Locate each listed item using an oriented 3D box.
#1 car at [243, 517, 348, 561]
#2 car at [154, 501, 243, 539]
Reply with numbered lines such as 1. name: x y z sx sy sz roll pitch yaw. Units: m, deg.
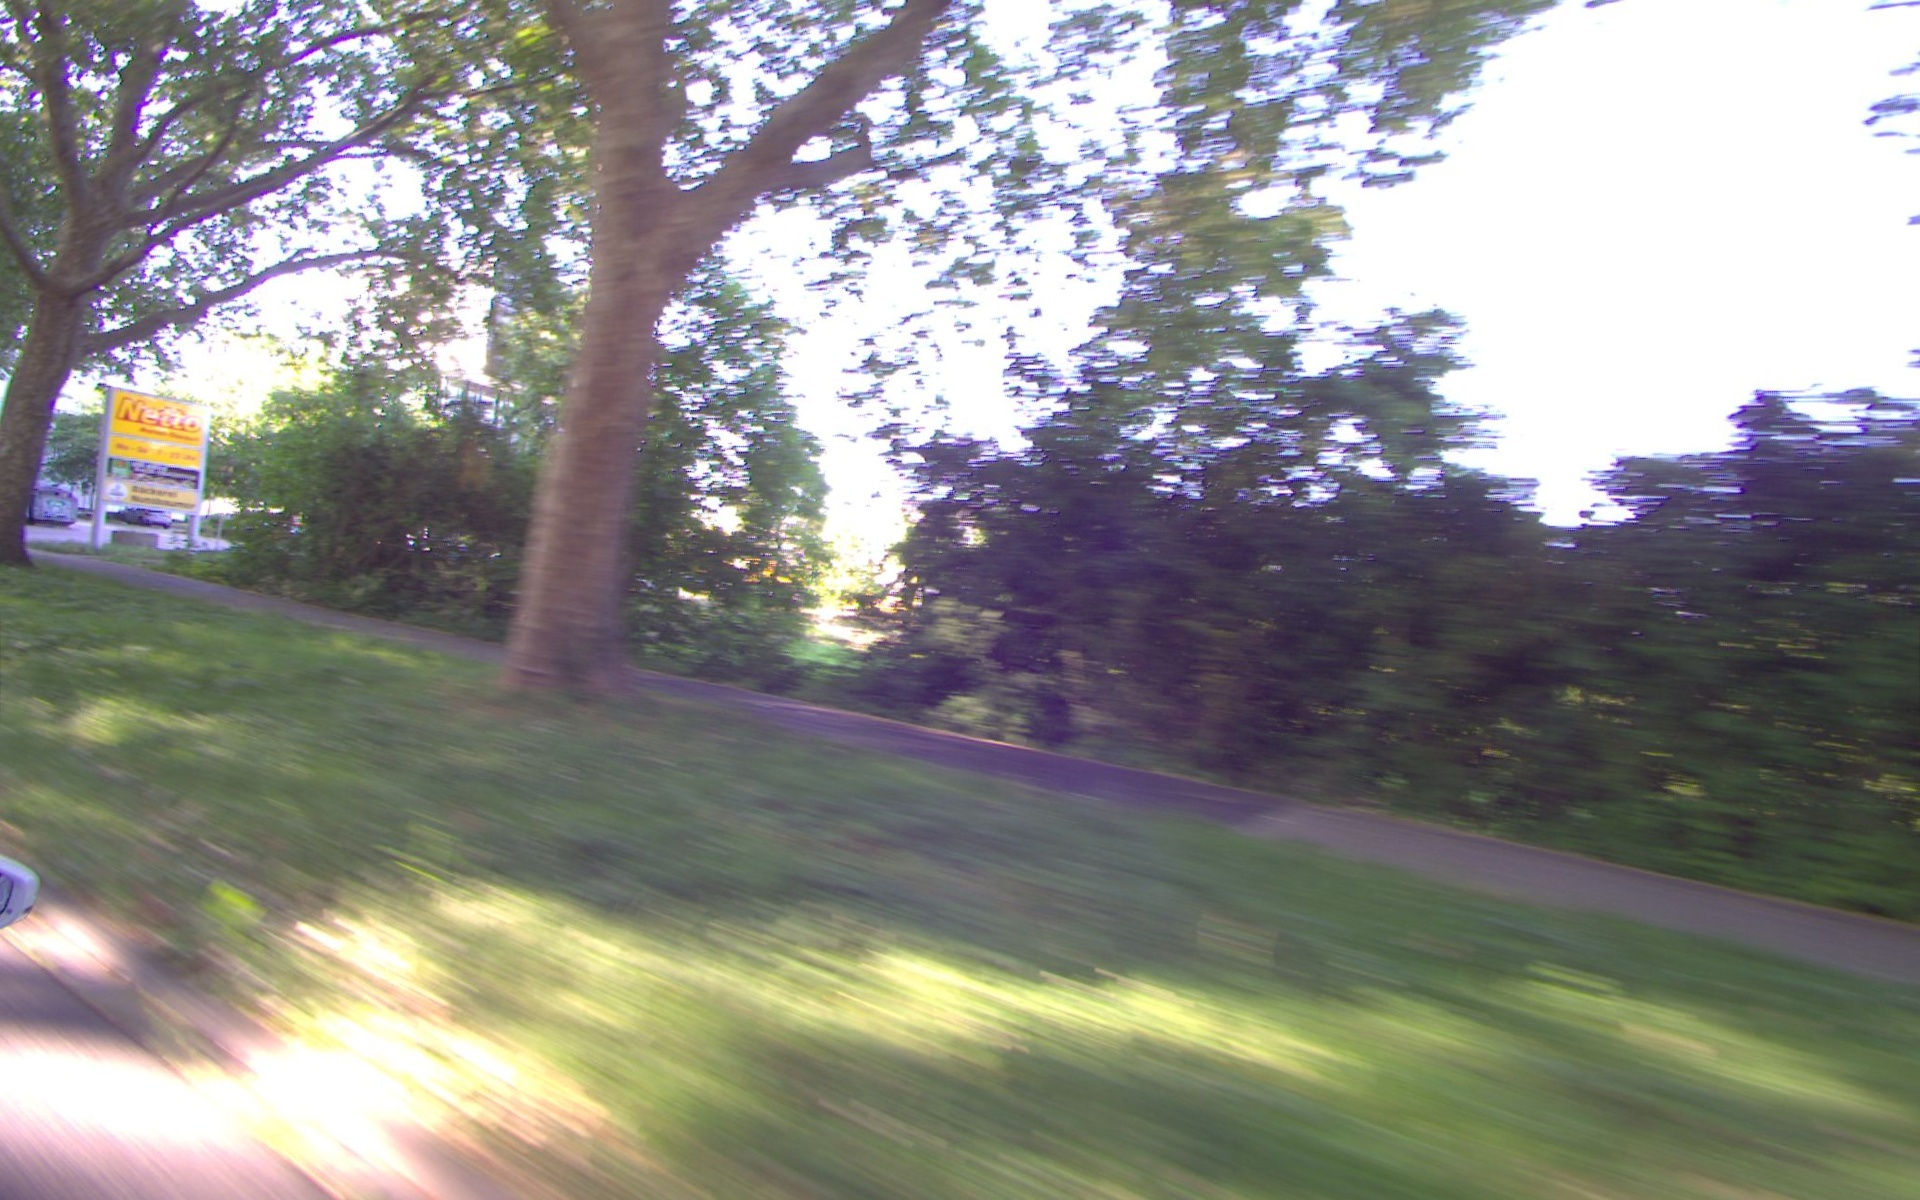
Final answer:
1. car: -34.224 -3.100 51.924 1.831 1.585 3.998 7 -1 27
2. car: -48.348 -5.066 63.906 1.968 1.793 3.989 7 0 34
